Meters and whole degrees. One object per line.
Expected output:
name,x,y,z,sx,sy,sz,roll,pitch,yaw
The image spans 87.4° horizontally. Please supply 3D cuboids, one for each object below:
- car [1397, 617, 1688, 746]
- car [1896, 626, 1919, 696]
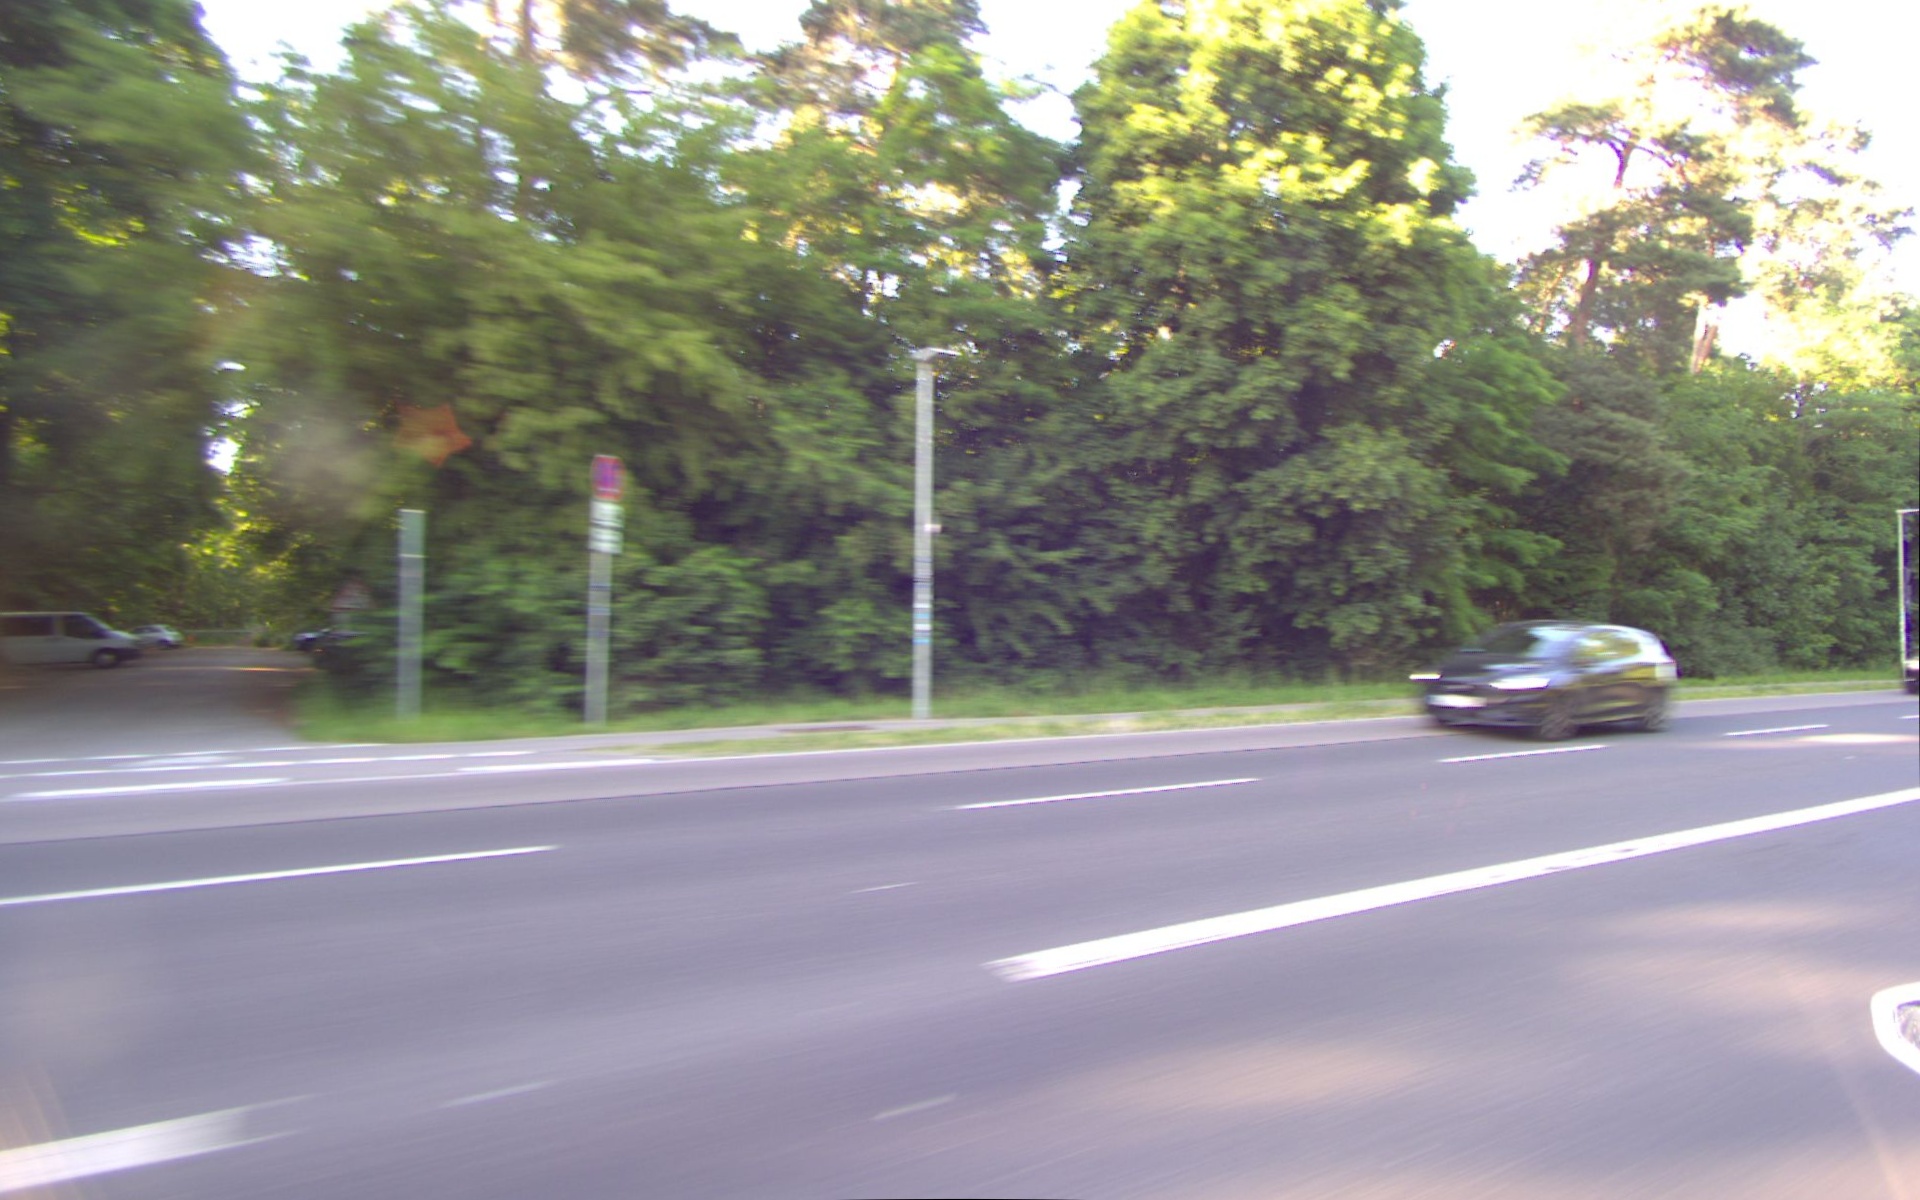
car,7.965,1.014,13.674,3.953,1.477,1.730,1,1,-31
car,22.656,1.357,22.314,4.124,1.500,1.649,2,-2,-31
